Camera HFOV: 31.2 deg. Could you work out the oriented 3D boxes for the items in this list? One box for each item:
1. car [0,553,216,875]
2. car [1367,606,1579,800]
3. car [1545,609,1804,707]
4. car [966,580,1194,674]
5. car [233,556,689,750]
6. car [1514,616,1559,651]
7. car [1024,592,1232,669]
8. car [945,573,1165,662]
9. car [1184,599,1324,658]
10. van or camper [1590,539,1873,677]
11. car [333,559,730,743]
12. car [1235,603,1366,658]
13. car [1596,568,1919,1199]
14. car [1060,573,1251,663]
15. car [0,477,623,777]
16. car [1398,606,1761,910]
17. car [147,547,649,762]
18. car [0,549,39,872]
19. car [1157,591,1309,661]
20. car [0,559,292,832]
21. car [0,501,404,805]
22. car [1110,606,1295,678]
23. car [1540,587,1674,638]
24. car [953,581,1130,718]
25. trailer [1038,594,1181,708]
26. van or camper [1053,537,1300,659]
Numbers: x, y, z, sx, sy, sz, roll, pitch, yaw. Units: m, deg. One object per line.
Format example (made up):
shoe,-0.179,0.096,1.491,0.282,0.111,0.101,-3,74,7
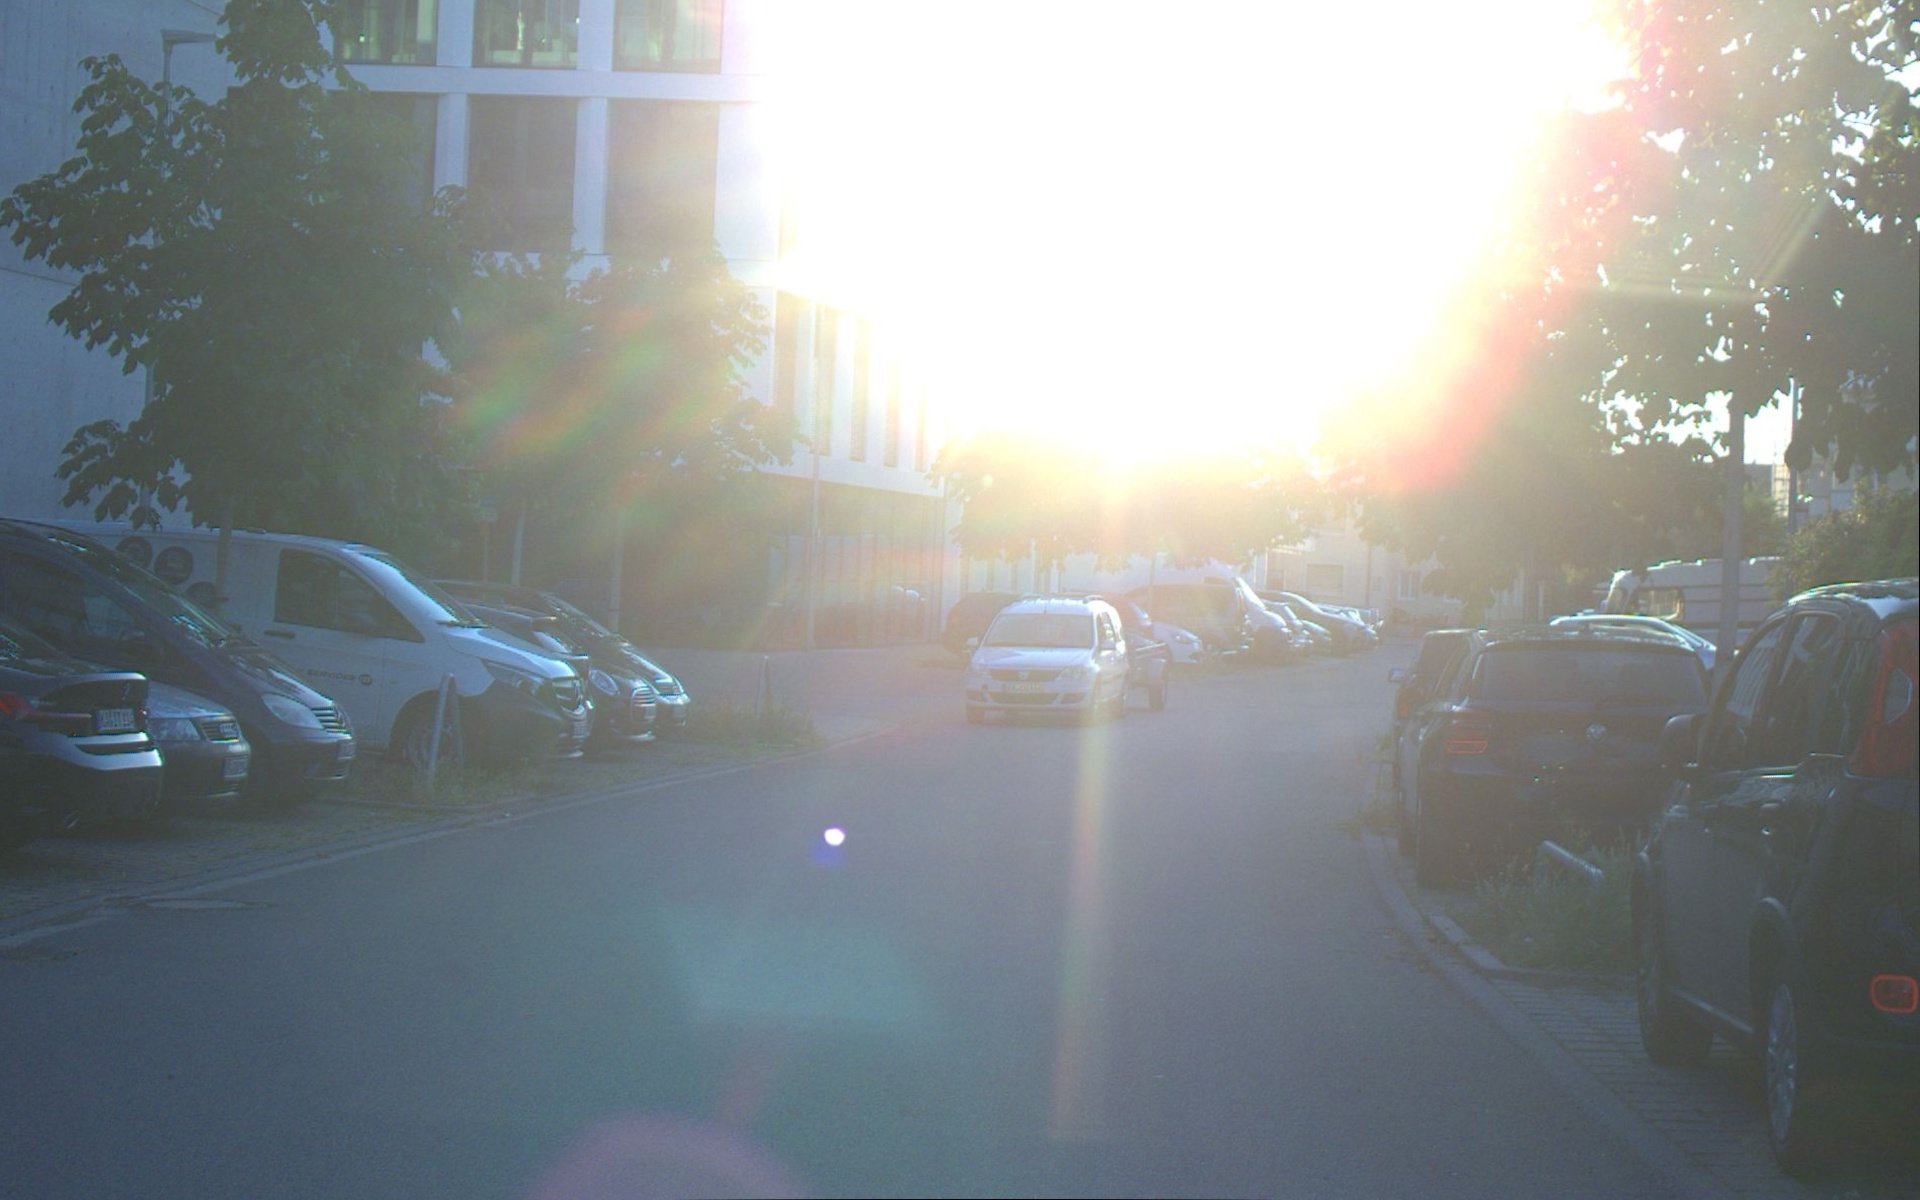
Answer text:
car,-6.299,0.403,17.683,4.399,1.494,1.762,5,0,8
car,4.793,0.884,31.742,1.725,1.574,4.596,3,0,10
car,11.735,0.941,56.656,4.051,1.474,1.767,1,1,8
car,2.310,0.496,65.555,4.052,1.474,1.767,4,2,10
car,-4.690,0.482,32.564,3.887,1.483,1.651,4,1,7
car,27.413,1.577,163.439,1.951,1.579,3.639,2,0,11
car,3.499,0.627,71.283,4.052,1.474,1.767,1,1,13
car,1.923,0.346,68.889,4.052,1.474,1.766,4,1,13
car,7.930,0.755,92.600,3.562,1.474,1.457,1,1,13
van or camper,16.138,0.135,72.255,5.612,2.780,2.429,1,1,9
car,-4.410,0.511,35.591,3.637,1.571,1.660,5,1,11
car,9.776,0.868,98.621,3.562,1.474,1.457,1,1,13
car,2.844,0.698,9.781,1.577,1.504,3.496,2,0,3
car,4.350,0.385,76.121,4.051,1.901,1.735,1,1,9
car,-5.447,0.186,27.518,5.077,1.940,1.888,5,0,5
car,3.447,0.811,19.777,1.693,1.504,4.192,2,0,6
car,-4.899,0.467,30.245,3.988,1.517,1.605,5,0,5
car,-6.578,0.406,15.240,4.434,1.459,1.763,3,1,4
car,6.802,0.642,85.551,3.562,1.646,1.457,1,1,13
car,-6.208,0.419,20.023,4.144,1.399,1.724,5,0,5
car,-6.015,0.252,22.614,4.247,1.736,1.724,5,0,5
car,5.539,0.954,78.330,4.051,1.519,1.735,1,1,9
car,21.806,0.414,116.015,4.343,1.638,1.815,1,1,8
car,1.141,0.665,45.569,1.953,1.680,4.720,1,-1,6
trailer,2.217,0.713,50.192,1.706,1.344,3.486,5,3,7
van or camper,5.107,-0.074,81.044,5.456,2.475,1.774,4,1,13
